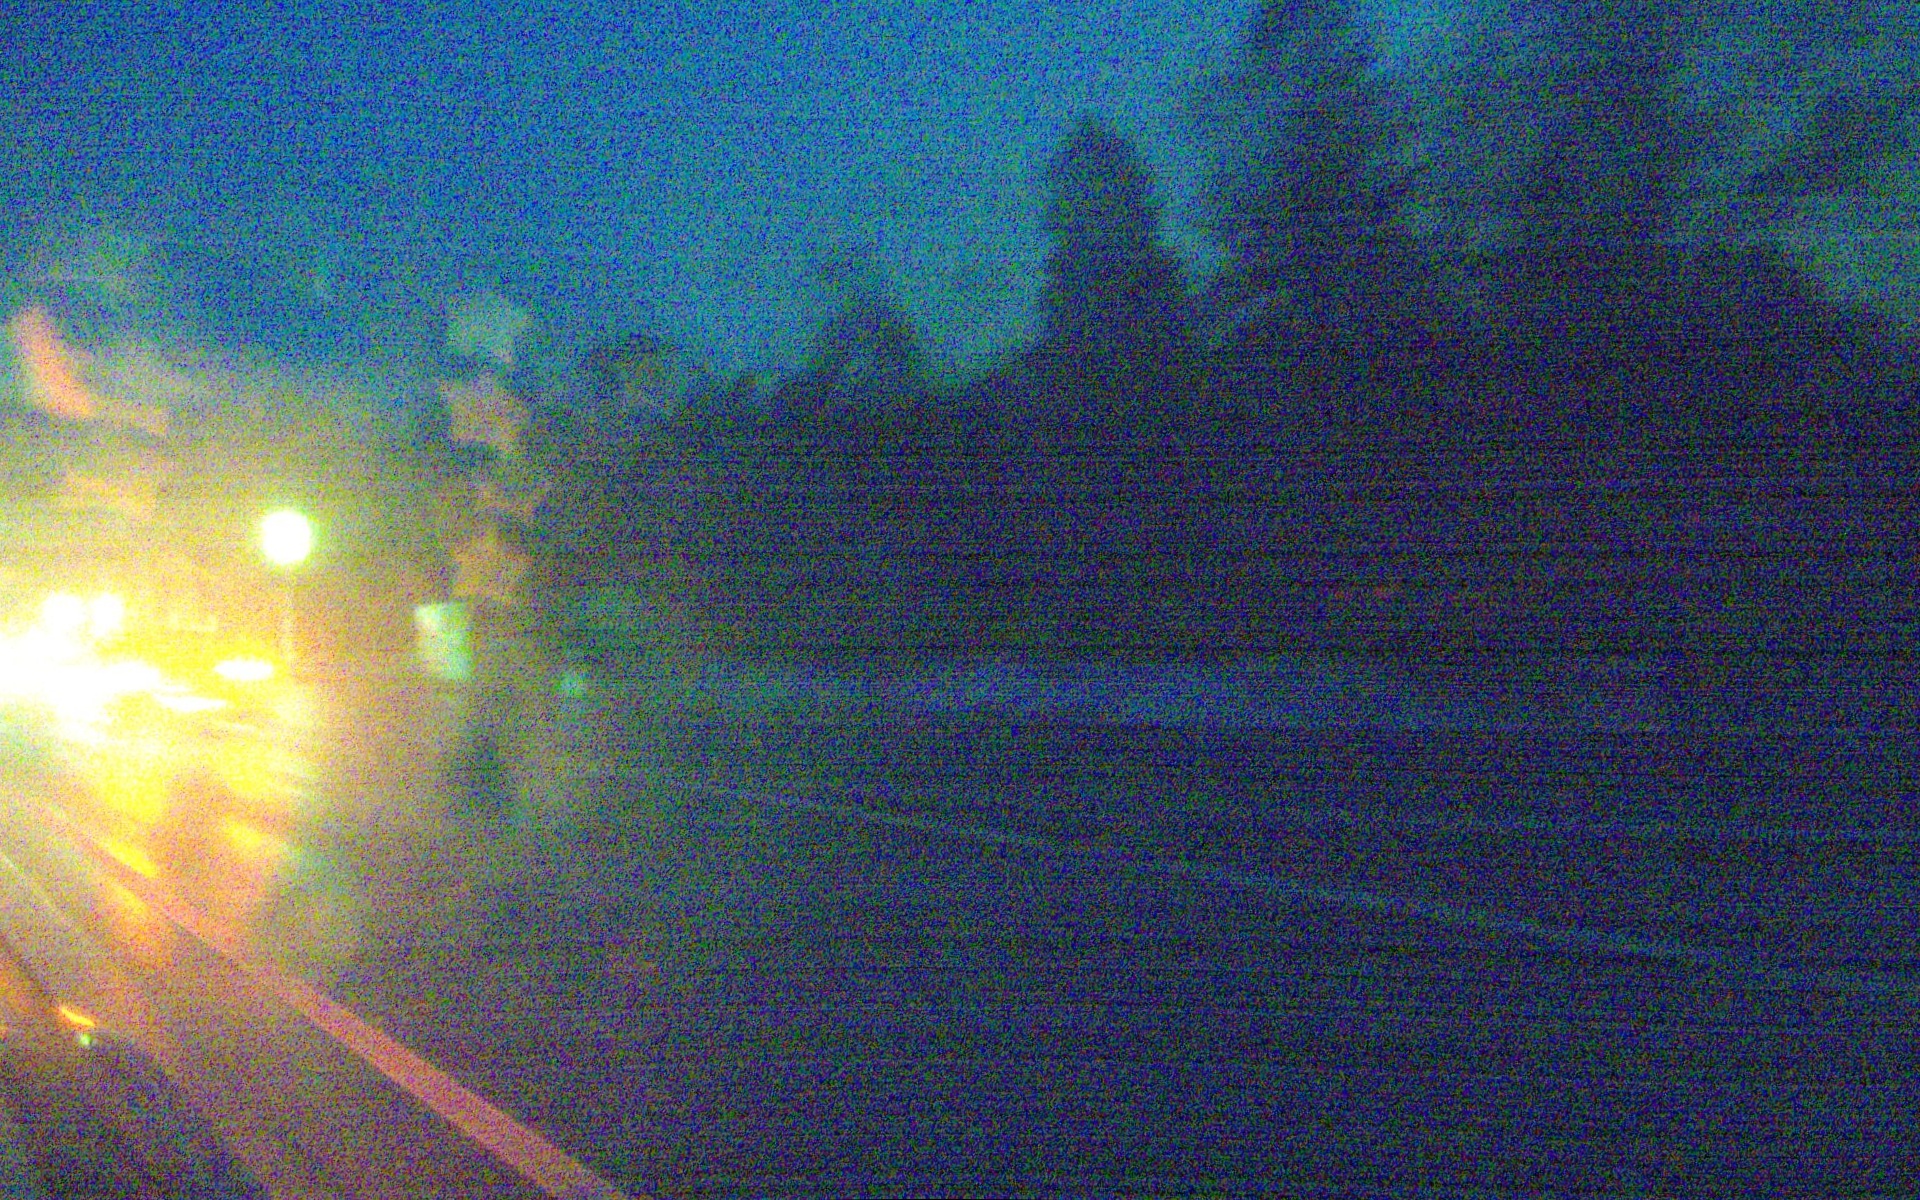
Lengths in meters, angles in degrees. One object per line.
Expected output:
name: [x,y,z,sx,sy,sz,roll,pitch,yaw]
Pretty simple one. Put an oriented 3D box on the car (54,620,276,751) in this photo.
car: [-11.203,1.077,14.177,3.776,1.510,1.971,-2,-1,44]
